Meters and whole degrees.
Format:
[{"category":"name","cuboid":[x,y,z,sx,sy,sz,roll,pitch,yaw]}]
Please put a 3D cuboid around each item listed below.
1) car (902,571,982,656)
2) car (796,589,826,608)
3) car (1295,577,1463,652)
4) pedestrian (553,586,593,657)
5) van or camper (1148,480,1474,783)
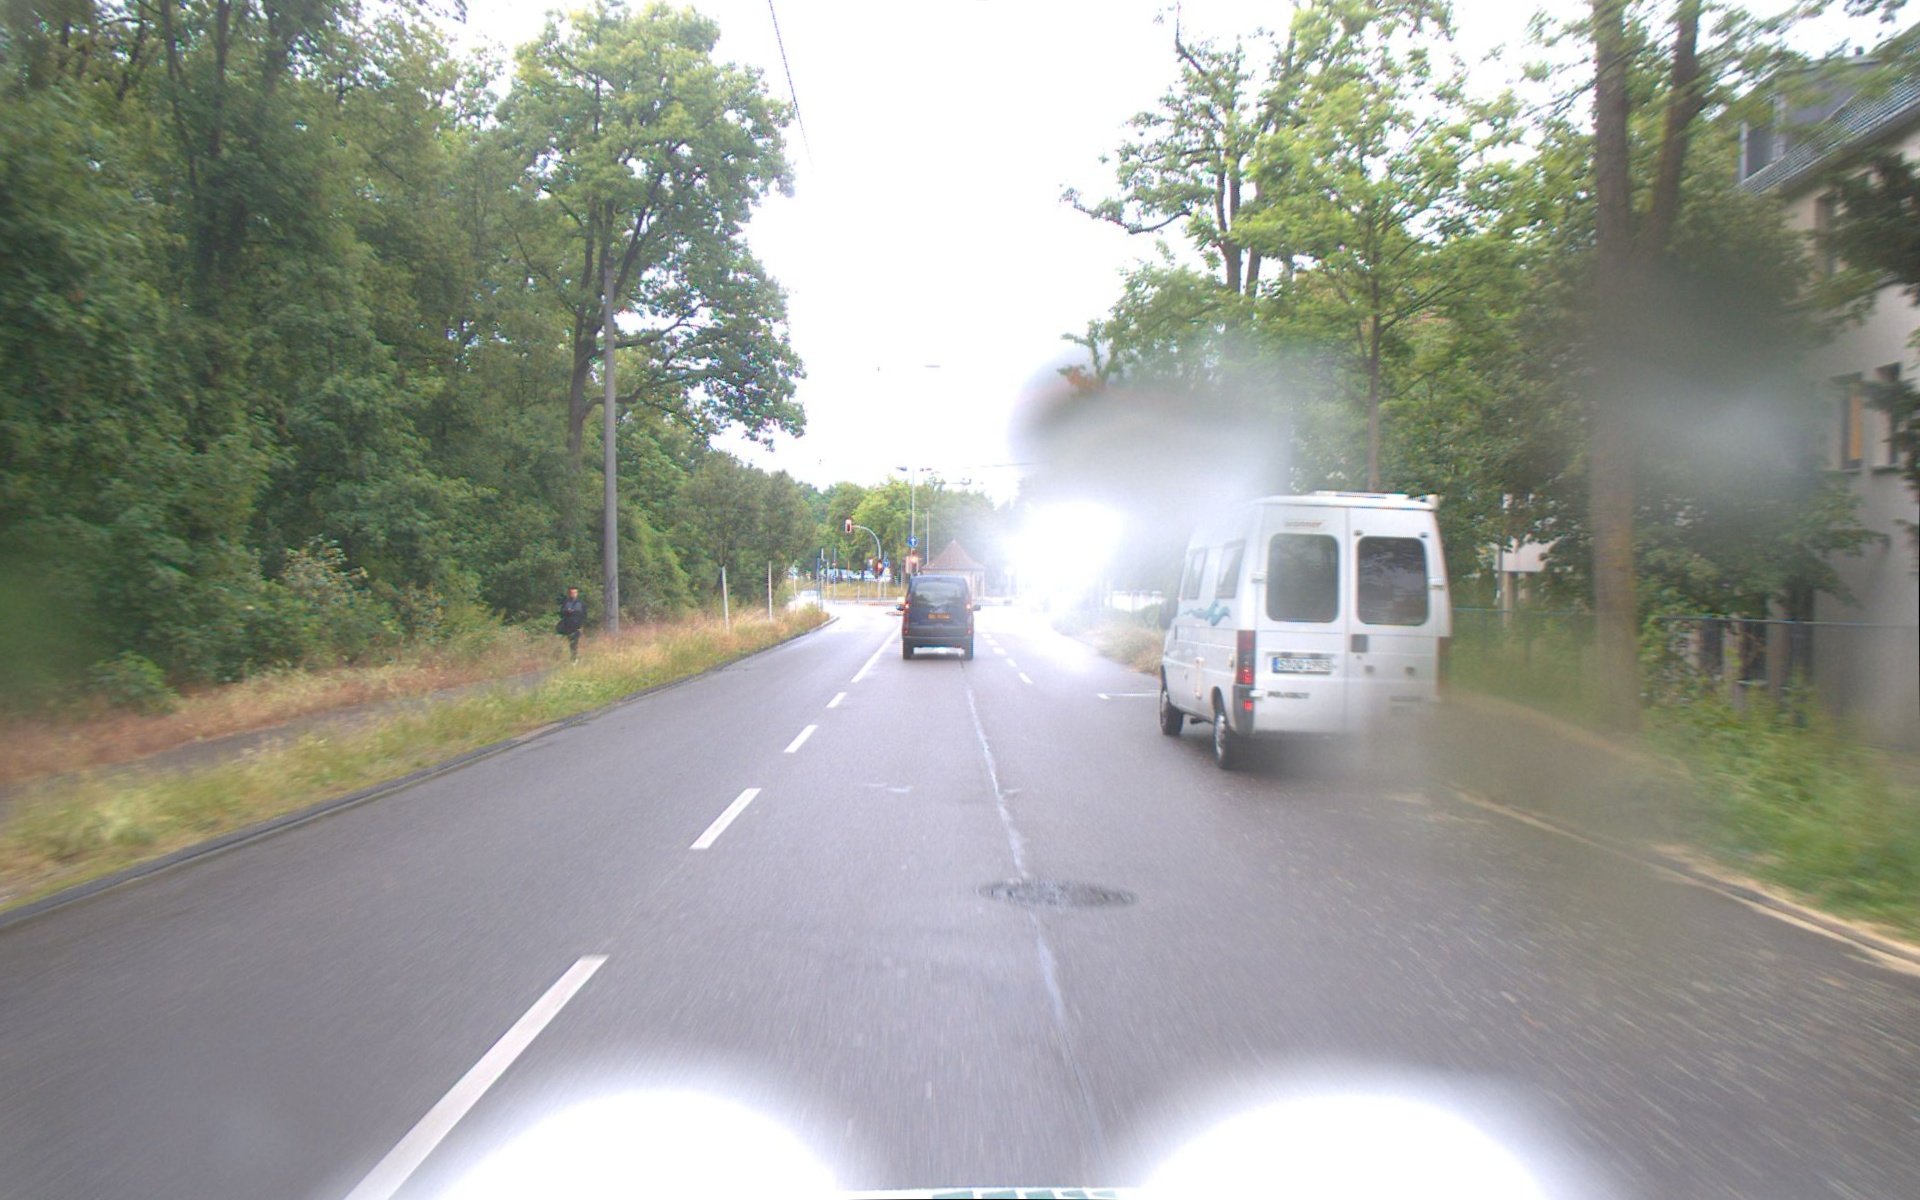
[{"category":"car","cuboid":[-0.414,0.275,38.017,1.696,1.817,3.999,1,0,-1]},{"category":"car","cuboid":[-11.471,-0.117,127.322,1.957,1.334,4.350,-2,1,-9]},{"category":"car","cuboid":[11.249,0.371,44.633,4.212,1.849,1.876,2,0,10]},{"category":"pedestrian","cuboid":[-8.928,0.485,38.133,0.765,1.636,0.732,0,0,-2]},{"category":"van or camper","cuboid":[3.362,0.263,17.129,1.996,2.522,5.637,3,0,-1]}]
